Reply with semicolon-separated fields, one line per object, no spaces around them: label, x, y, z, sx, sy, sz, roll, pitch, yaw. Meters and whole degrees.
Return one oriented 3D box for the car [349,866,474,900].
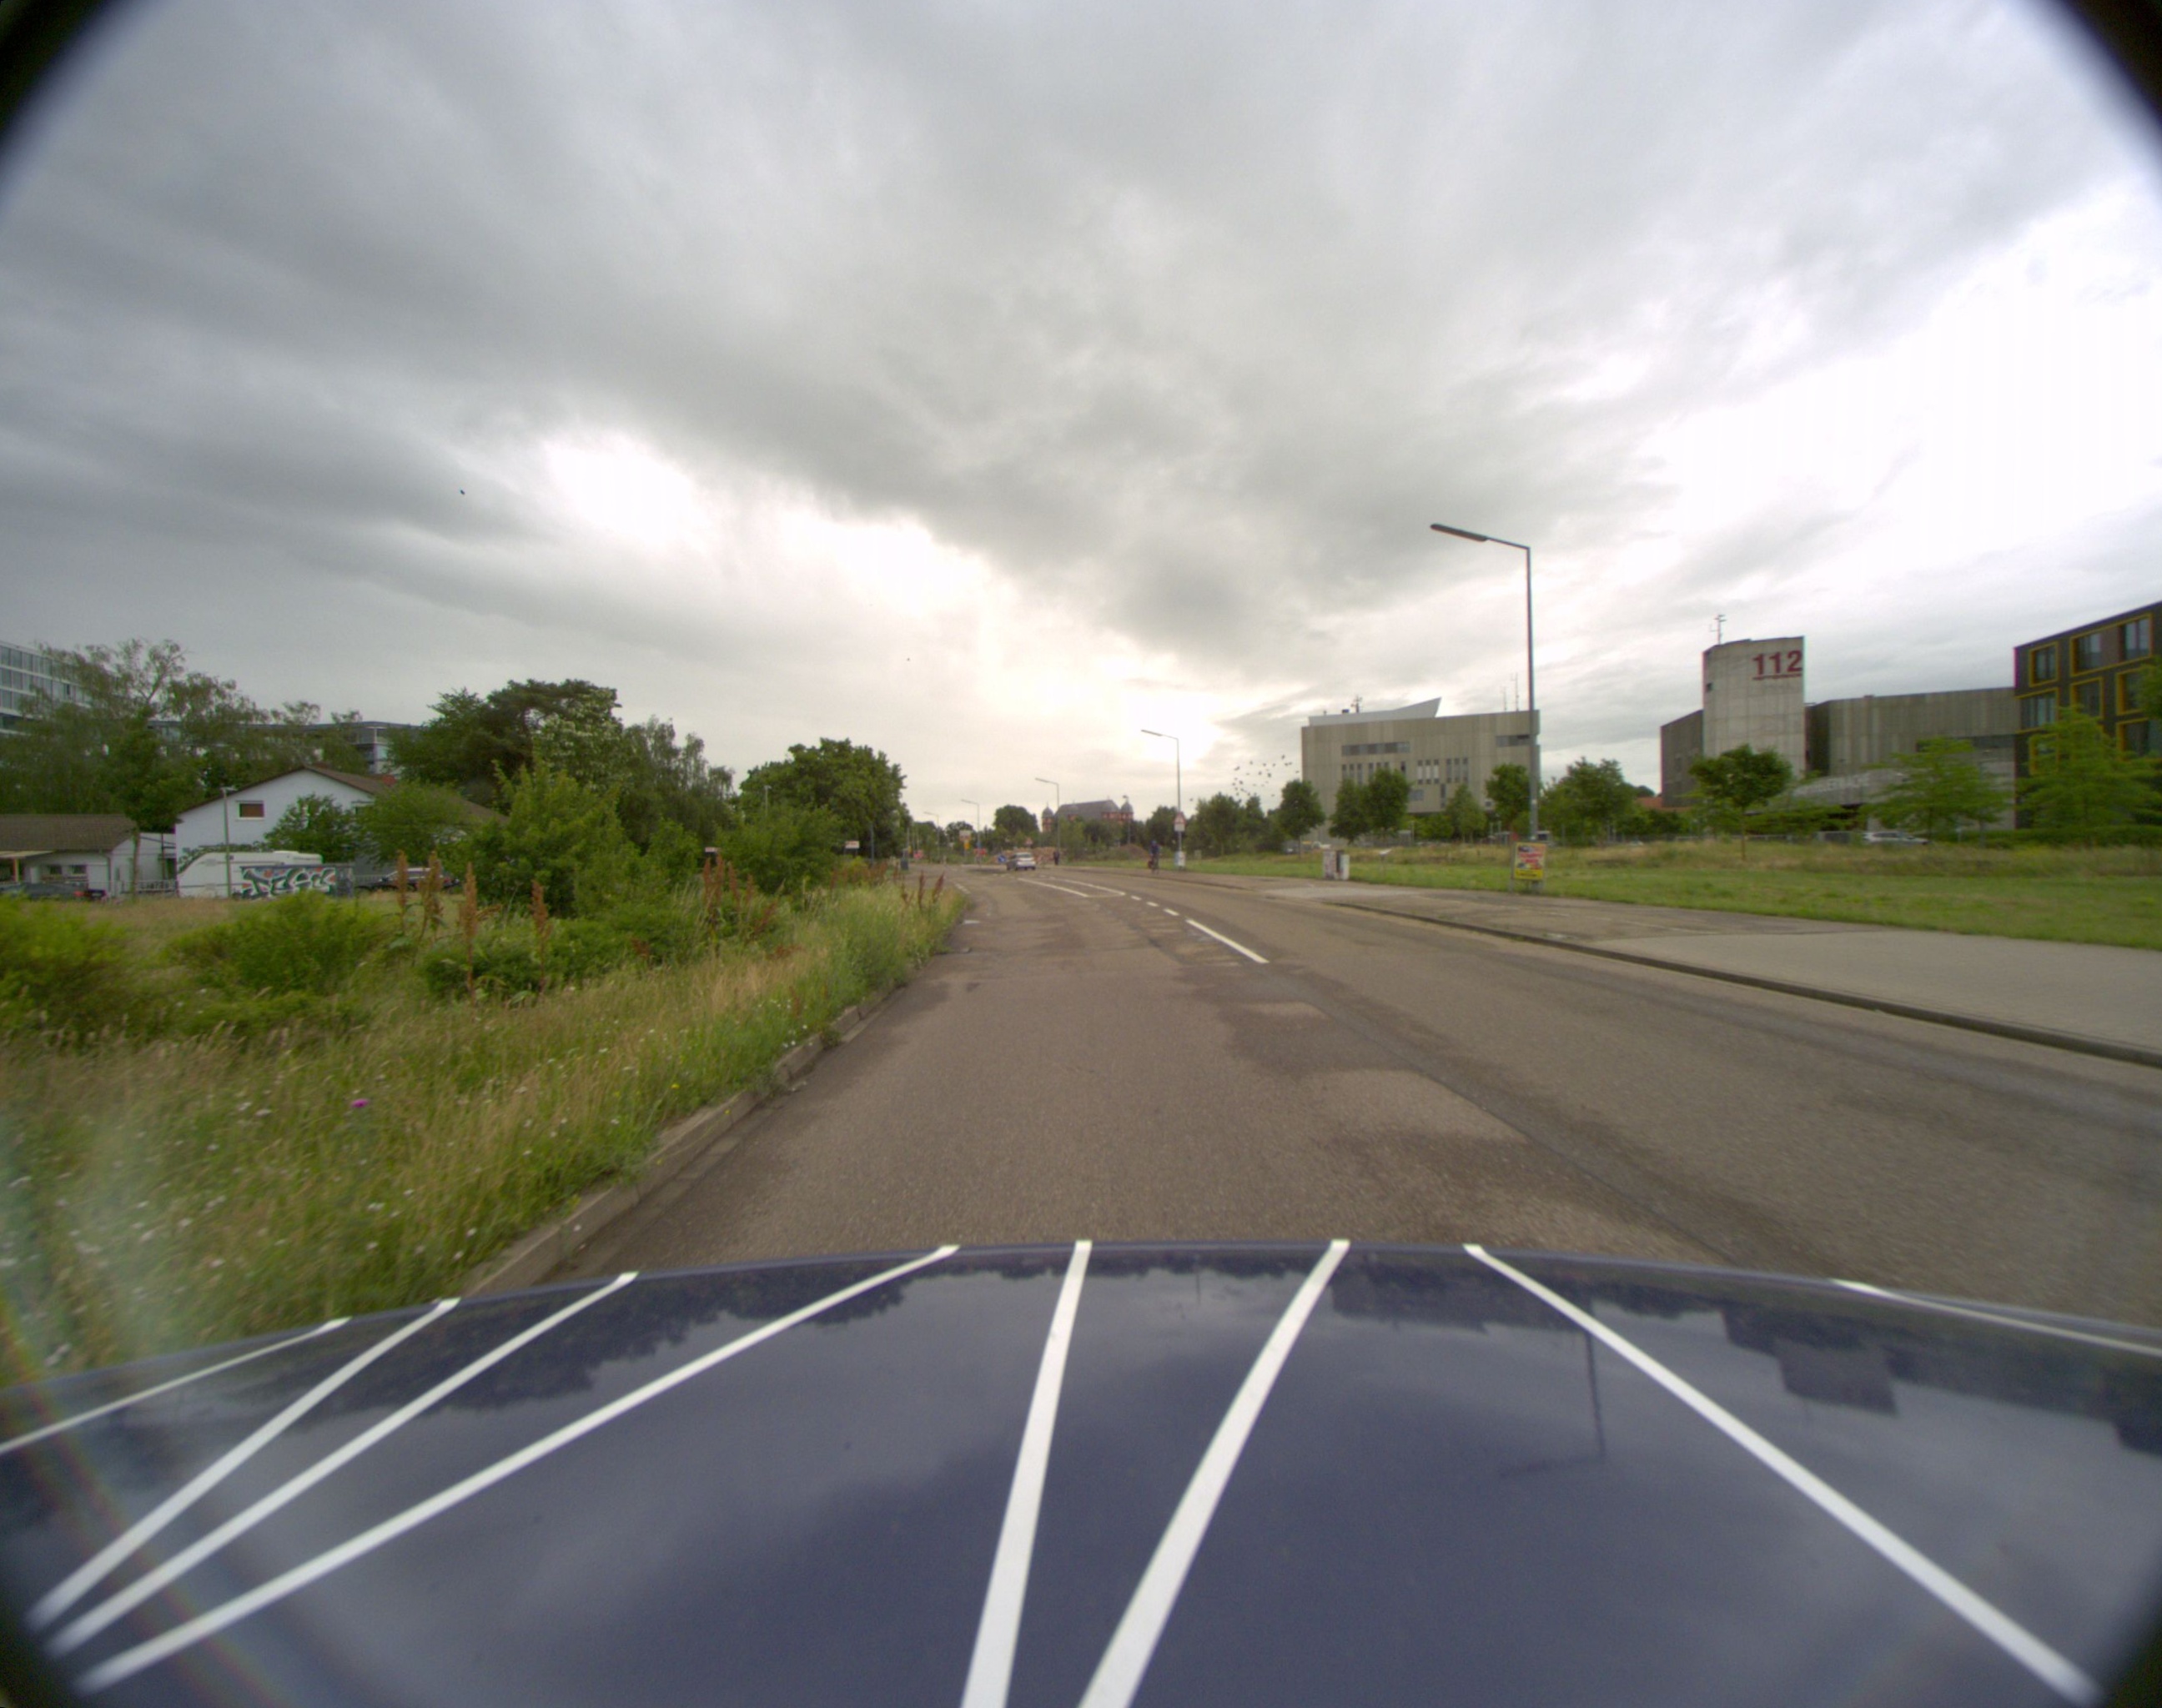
car;-35.766;1.535;40.756;4.598;1.630;1.997;-1;0;-21

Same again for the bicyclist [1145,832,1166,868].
bicyclist;4.270;-0.231;43.710;0.864;2.002;1.176;-1;0;-13

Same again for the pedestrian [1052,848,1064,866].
pedestrian;-2.297;0.320;75.573;0.847;1.772;1.075;-1;0;-23

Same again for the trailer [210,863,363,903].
trailer;-33.752;1.197;32.420;4.124;1.523;1.755;-1;0;-23

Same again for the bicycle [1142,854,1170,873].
bicycle;4.300;0.530;43.681;0.887;1.046;2.466;-1;0;-13

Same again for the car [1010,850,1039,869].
car;-4.773;0.487;63.903;1.678;1.453;4.051;-4;1;-14

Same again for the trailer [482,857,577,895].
trailer;-31.125;1.215;43.028;4.003;2.002;1.640;-1;0;-21

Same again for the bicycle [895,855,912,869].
bicycle;-14.766;0.663;63.194;0.797;1.104;1.952;-1;1;3

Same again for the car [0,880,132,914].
car;-48.588;2.025;35.865;4.295;1.377;1.909;-1;1;-21

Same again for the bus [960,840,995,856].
bus;-29.181;-1.677;213.869;9.865;3.958;2.739;-2;0;27

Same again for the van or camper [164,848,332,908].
van or camper;-42.054;1.170;38.566;5.184;2.815;2.412;-1;0;-19

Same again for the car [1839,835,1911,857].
car;59.651;-0.577;57.167;1.996;1.514;4.005;0;0;16
